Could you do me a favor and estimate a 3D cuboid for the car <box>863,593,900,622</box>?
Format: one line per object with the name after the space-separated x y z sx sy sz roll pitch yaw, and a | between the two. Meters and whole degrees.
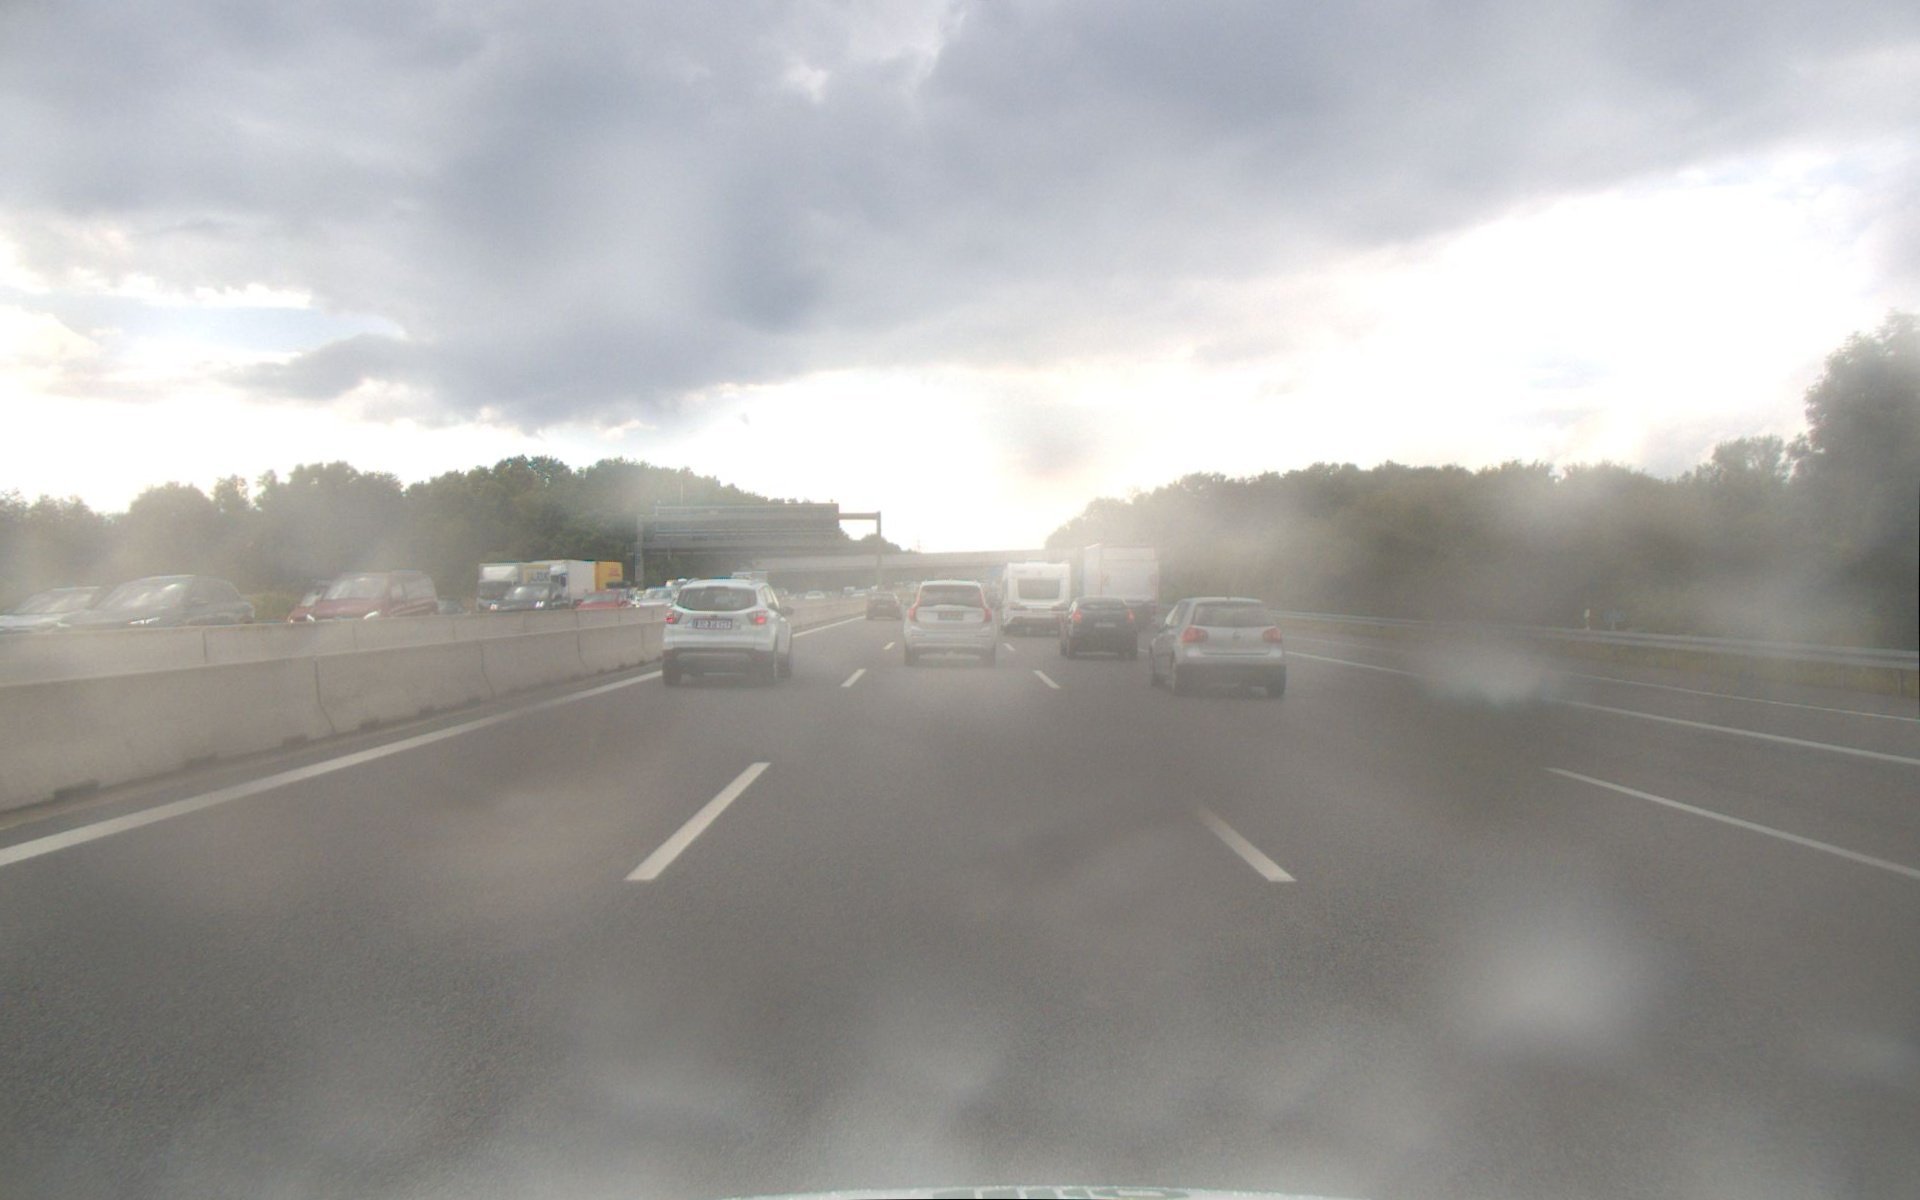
-4.218 0.404 89.391 1.744 1.507 4.353 1 0 0 | car

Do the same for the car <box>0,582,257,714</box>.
-14.298 0.741 28.642 1.953 2.049 5.417 1 0 -1 | car

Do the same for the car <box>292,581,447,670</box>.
-14.581 0.591 41.195 1.953 2.049 5.417 1 0 -1 | car

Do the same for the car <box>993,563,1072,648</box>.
2.615 0.185 61.770 2.515 2.946 7.532 1 0 -1 | car

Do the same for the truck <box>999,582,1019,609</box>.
7.081 -0.655 239.313 2.846 3.876 7.274 0 0 1 | truck

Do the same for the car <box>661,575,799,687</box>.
-3.768 0.448 27.832 1.778 1.719 4.850 0 0 -2 | car

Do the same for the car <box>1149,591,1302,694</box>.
4.156 0.624 26.427 1.759 1.503 4.037 1 0 -1 | car

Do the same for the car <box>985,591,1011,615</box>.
3.016 0.241 133.102 2.001 1.855 4.904 1 0 1 | car

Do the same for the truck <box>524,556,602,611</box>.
-27.509 -1.090 115.110 2.819 3.676 10.312 0 0 1 | truck

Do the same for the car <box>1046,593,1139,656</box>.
3.161 0.561 40.190 1.846 1.431 4.281 1 0 -1 | car

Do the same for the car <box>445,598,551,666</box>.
-13.918 0.933 50.090 1.953 1.937 4.503 1 0 0 | car

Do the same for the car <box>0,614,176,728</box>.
-17.887 1.335 33.201 1.953 2.049 4.971 1 0 -1 | car

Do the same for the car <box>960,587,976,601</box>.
1.009 -0.703 207.764 1.843 1.715 3.998 1 0 -3 | car

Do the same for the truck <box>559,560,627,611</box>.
-27.433 -1.065 124.064 2.819 3.676 9.581 0 0 1 | truck

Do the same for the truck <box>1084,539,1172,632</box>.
7.240 -0.616 72.457 3.068 3.774 9.849 1 0 1 | truck

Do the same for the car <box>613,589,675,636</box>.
-14.253 0.559 74.717 1.953 2.049 4.424 1 0 0 | car

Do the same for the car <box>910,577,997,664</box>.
-0.171 0.401 35.507 1.744 1.746 4.352 1 0 -1 | car

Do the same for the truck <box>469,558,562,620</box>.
-25.340 -0.597 94.824 2.850 3.348 9.201 1 0 0 | truck
